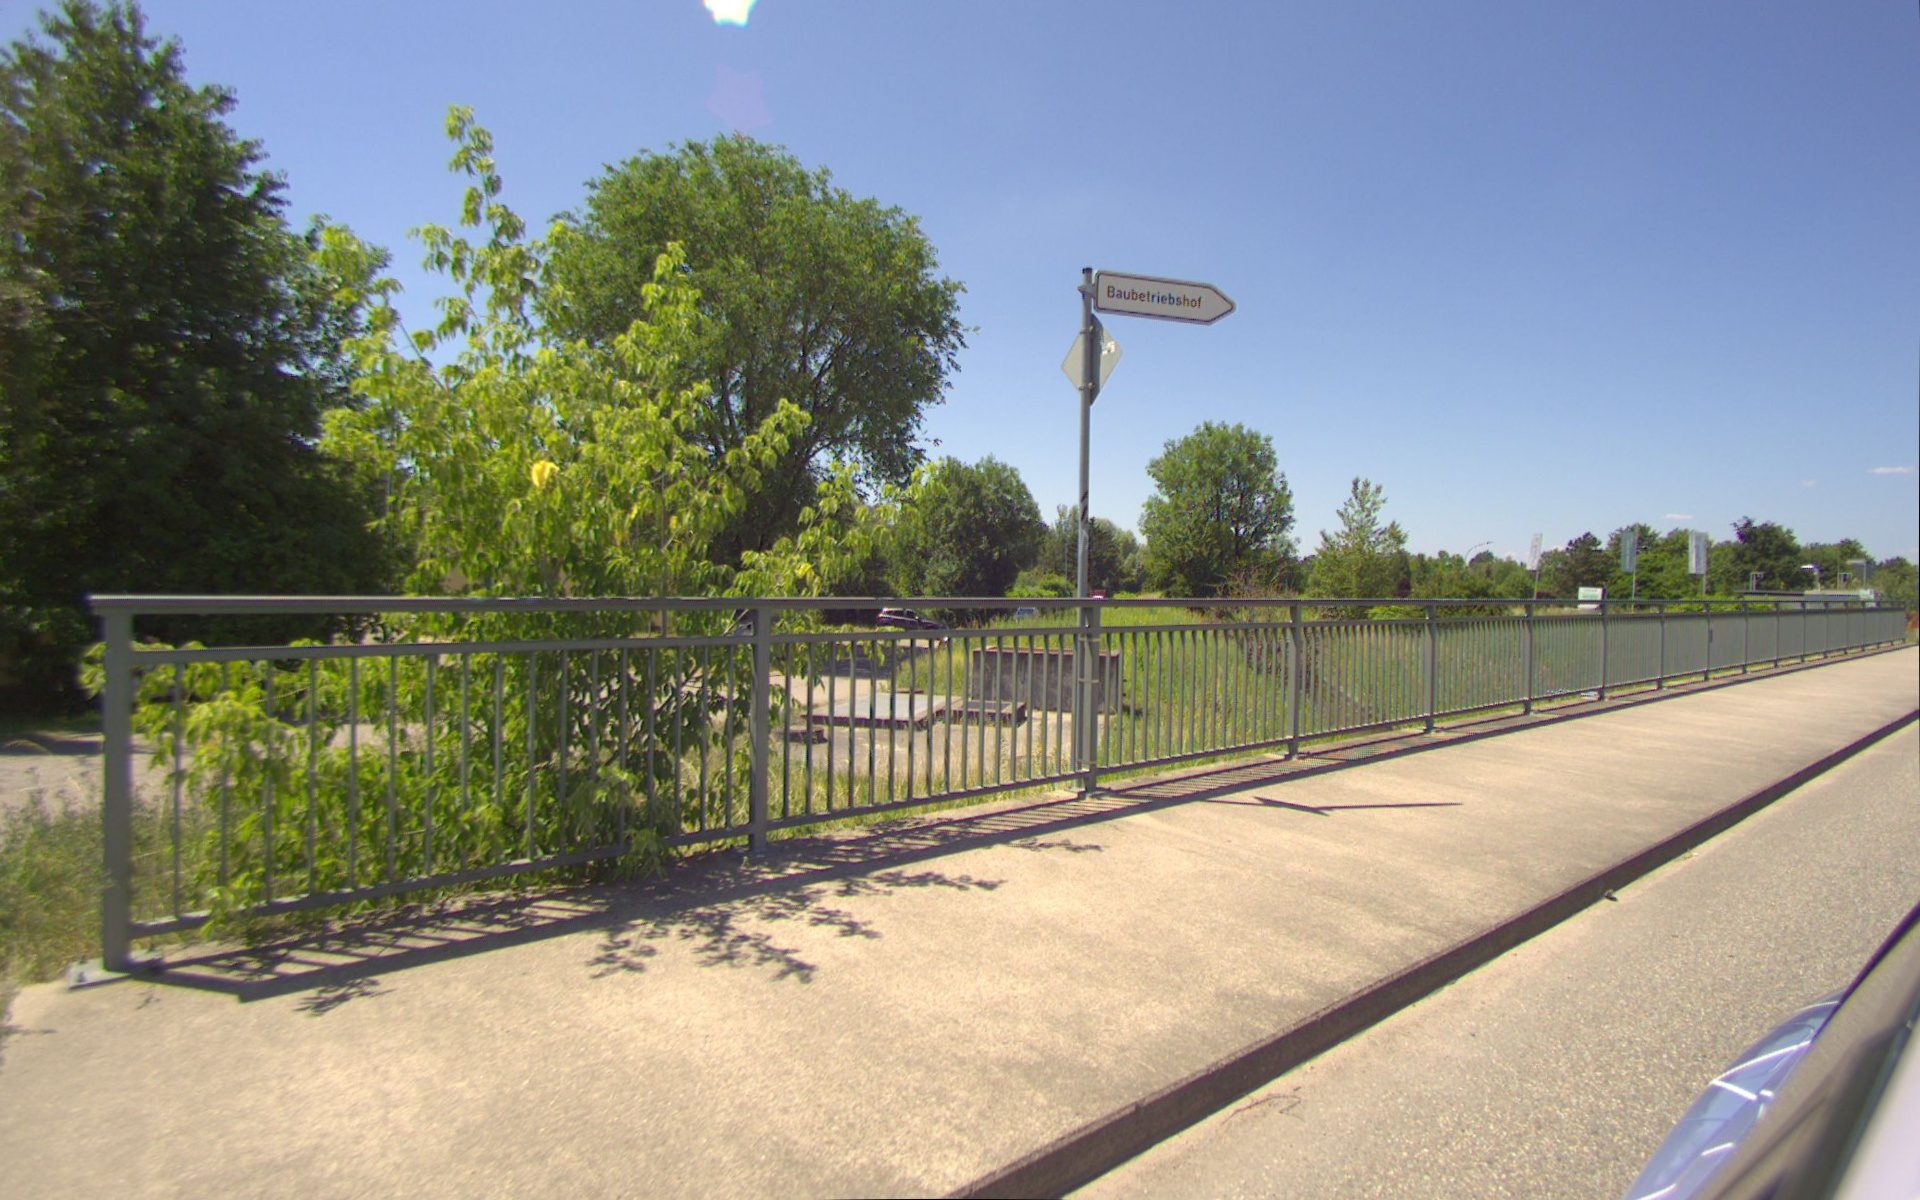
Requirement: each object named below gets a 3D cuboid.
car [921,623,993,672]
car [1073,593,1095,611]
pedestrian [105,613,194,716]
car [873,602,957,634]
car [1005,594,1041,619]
[{"bbox_3d":[-0.048,1.848,40.550,1.969,1.644,4.497,2,1,12],"label":"car"},{"bbox_3d":[14.935,0.197,121.472,2.245,2.059,4.776,2,1,12],"label":"car"},{"bbox_3d":[-11.920,0.946,14.910,0.833,1.410,0.684,4,1,-28],"label":"pedestrian"},{"bbox_3d":[-2.567,1.018,57.852,4.443,1.644,1.993,2,1,12],"label":"car"},{"bbox_3d":[4.631,0.459,73.764,1.969,1.644,4.497,2,1,12],"label":"car"}]
